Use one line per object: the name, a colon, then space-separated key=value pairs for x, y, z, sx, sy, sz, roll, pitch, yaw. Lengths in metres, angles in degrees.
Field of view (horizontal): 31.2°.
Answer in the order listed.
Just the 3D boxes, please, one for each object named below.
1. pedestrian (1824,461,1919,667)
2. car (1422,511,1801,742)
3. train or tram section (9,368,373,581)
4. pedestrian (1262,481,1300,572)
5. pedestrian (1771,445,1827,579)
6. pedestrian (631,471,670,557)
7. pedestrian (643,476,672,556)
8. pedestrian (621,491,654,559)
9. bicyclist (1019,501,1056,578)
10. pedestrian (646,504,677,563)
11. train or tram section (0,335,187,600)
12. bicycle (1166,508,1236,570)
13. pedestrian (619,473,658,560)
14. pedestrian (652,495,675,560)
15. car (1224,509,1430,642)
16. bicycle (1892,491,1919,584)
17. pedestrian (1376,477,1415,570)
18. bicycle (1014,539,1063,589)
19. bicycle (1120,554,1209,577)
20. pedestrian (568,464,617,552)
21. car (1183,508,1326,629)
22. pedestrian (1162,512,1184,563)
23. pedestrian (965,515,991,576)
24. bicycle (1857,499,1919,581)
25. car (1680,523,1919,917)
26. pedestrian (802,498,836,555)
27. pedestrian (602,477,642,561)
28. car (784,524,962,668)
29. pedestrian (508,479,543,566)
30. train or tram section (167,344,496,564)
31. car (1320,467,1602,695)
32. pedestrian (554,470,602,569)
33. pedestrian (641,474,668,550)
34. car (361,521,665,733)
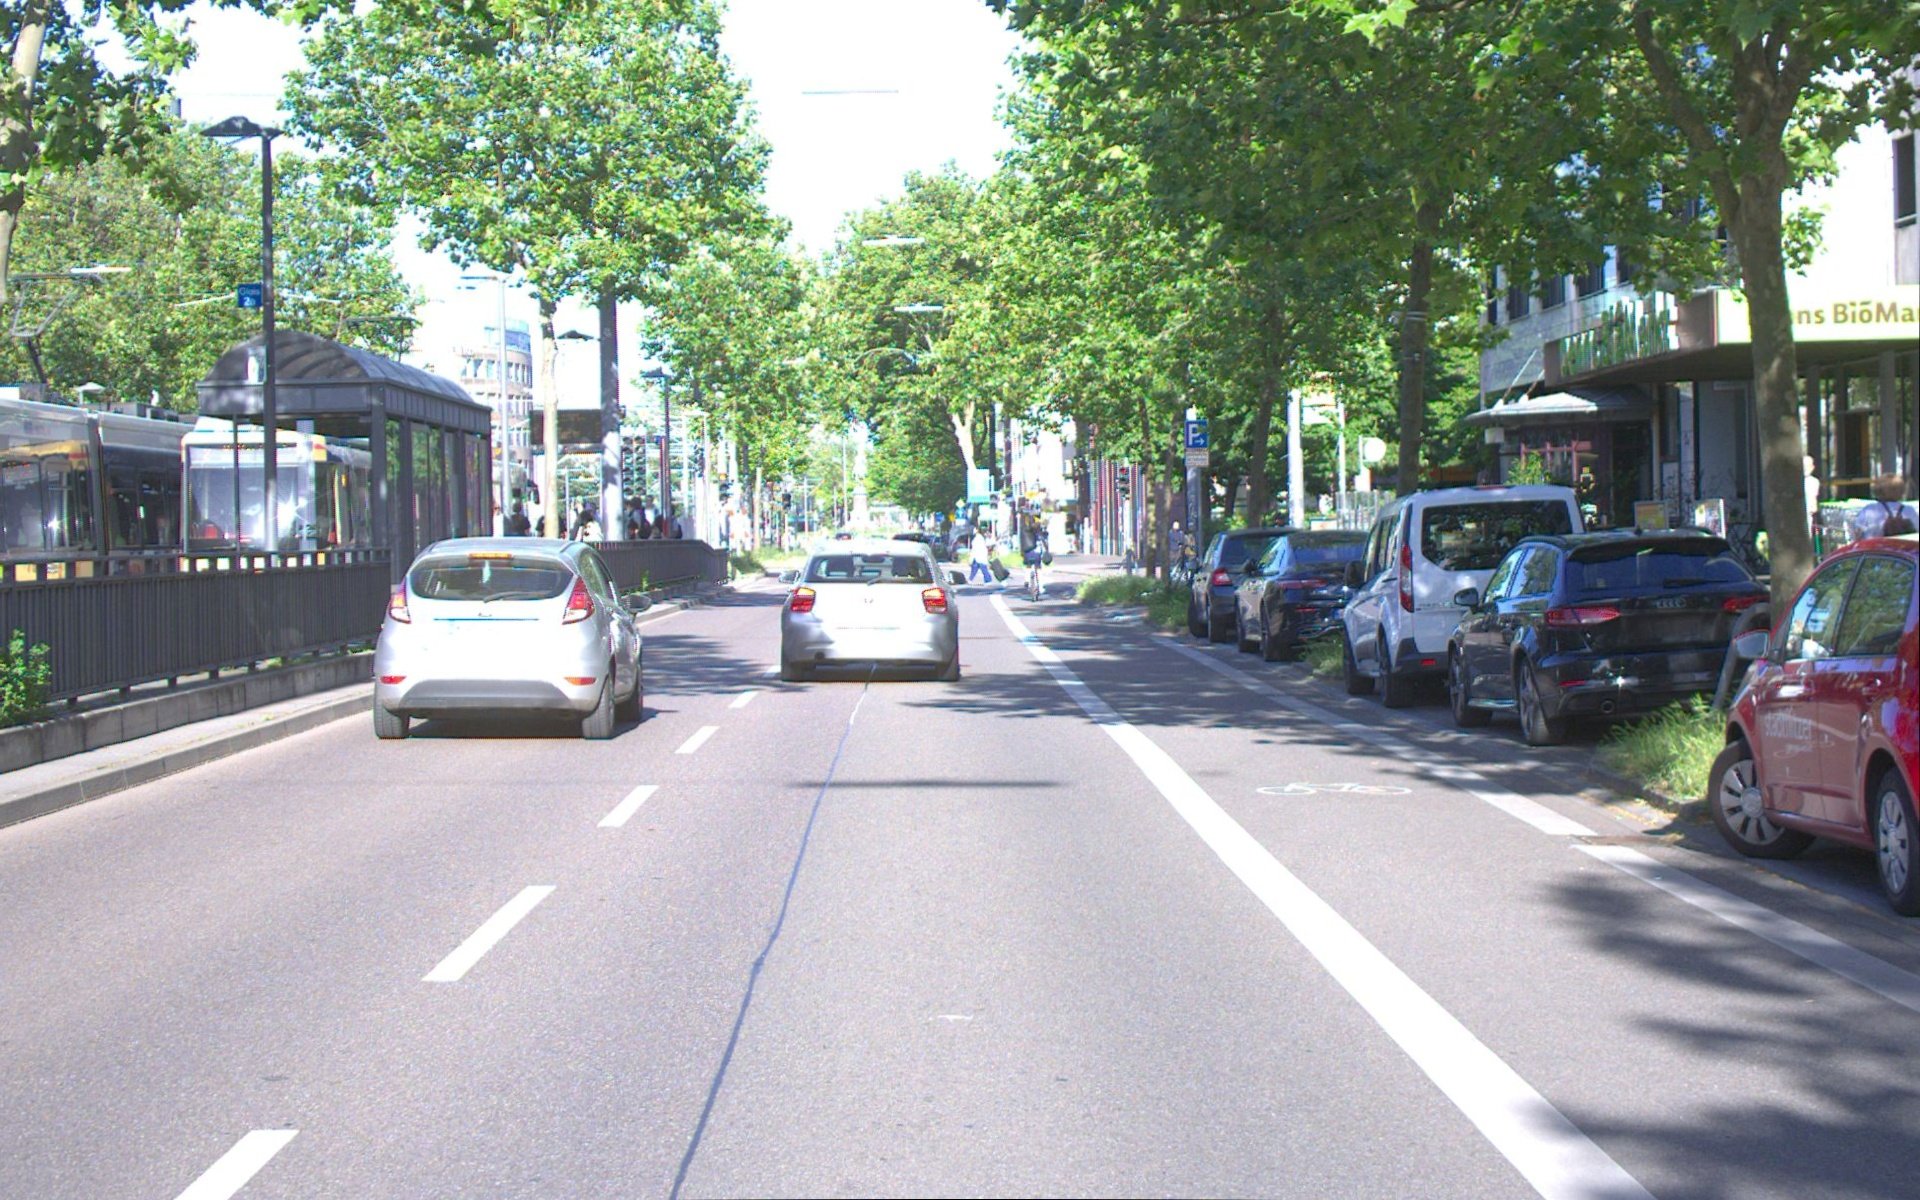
pedestrian: x=7.446 y=-0.301 z=27.684 sx=0.698 sy=1.607 sz=0.868 roll=-3 pitch=1 yaw=1
car: x=4.487 y=0.115 z=24.283 sx=1.728 sy=1.398 sz=4.296 roll=-3 pitch=2 yaw=-1
train or tram section: x=-13.945 y=-2.291 z=64.532 sx=2.849 sy=3.422 sz=18.216 roll=0 pitch=2 yaw=0
pedestrian: x=6.094 y=-1.394 z=65.368 sx=0.560 sy=1.698 sz=1.052 roll=-2 pitch=1 yaw=-1
pedestrian: x=11.095 y=-1.167 z=45.453 sx=0.612 sy=1.709 sz=0.613 roll=-3 pitch=3 yaw=16
pedestrian: x=-6.192 y=-1.713 z=68.754 sx=0.660 sy=1.690 sz=0.571 roll=-2 pitch=1 yaw=1
pedestrian: x=-6.601 y=-1.837 z=74.944 sx=0.548 sy=1.728 sz=0.540 roll=-2 pitch=1 yaw=-2
pedestrian: x=-6.018 y=-1.403 z=64.177 sx=0.534 sy=1.242 sz=0.604 roll=-2 pitch=1 yaw=-2
bicyclist: x=1.694 y=-1.336 z=75.298 sx=0.658 sy=1.651 sz=0.765 roll=-2 pitch=1 yaw=8
pedestrian: x=-6.025 y=-1.347 z=69.477 sx=0.545 sy=1.188 sz=0.531 roll=-2 pitch=1 yaw=-1
train or tram section: x=-13.850 y=-1.769 z=46.279 sx=2.871 sy=3.422 sz=18.278 roll=0 pitch=2 yaw=0
bicycle: x=4.559 y=-1.158 z=65.242 sx=0.788 sy=1.129 sz=1.847 roll=-2 pitch=2 yaw=-13
pedestrian: x=-6.324 y=-1.643 z=67.715 sx=0.660 sy=1.690 sz=0.571 roll=-2 pitch=1 yaw=1
pedestrian: x=-6.089 y=-1.488 z=70.685 sx=0.415 sy=1.311 sz=0.507 roll=-2 pitch=1 yaw=-2
car: x=4.156 y=-0.327 z=39.573 sx=1.761 sy=1.413 sz=4.701 roll=-1 pitch=2 yaw=-1
bicycle: x=11.908 y=-0.775 z=40.397 sx=1.702 sy=1.051 sz=0.585 roll=-3 pitch=4 yaw=27
pedestrian: x=8.283 y=-1.465 z=65.395 sx=0.560 sy=1.738 sz=0.879 roll=-2 pitch=1 yaw=-1
bicycle: x=1.732 y=-0.793 z=75.380 sx=0.832 sy=1.038 sz=1.874 roll=-2 pitch=2 yaw=8
bicycle: x=3.920 y=-0.672 z=66.061 sx=1.608 sy=0.352 sz=1.389 roll=-3 pitch=2 yaw=0
pedestrian: x=-6.473 y=-1.617 z=60.583 sx=0.775 sy=1.504 sz=0.752 roll=-2 pitch=1 yaw=-4
car: x=3.954 y=-0.462 z=46.651 sx=1.565 sy=1.545 sz=4.000 roll=-1 pitch=1 yaw=0
pedestrian: x=6.762 y=-1.979 z=109.149 sx=0.627 sy=1.623 sz=0.943 roll=0 pitch=1 yaw=8
pedestrian: x=0.493 y=-1.486 z=93.766 sx=0.639 sy=1.614 sz=0.642 roll=-2 pitch=-1 yaw=1
bicycle: x=11.758 y=-0.750 z=41.514 sx=1.649 sy=0.913 sz=0.585 roll=-3 pitch=4 yaw=27
car: x=4.347 y=0.396 z=14.518 sx=1.673 sy=1.433 sz=3.691 roll=-4 pitch=1 yaw=-1
pedestrian: x=-3.922 y=-2.049 z=95.587 sx=0.830 sy=1.570 sz=0.739 roll=-1 pitch=1 yaw=7
pedestrian: x=-6.602 y=-1.581 z=67.174 sx=0.660 sy=1.628 sz=0.571 roll=-2 pitch=1 yaw=1
car: x=-0.848 y=-0.075 z=35.212 sx=1.660 sy=1.404 sz=3.632 roll=0 pitch=1 yaw=1
pedestrian: x=-8.580 y=-1.536 z=67.943 sx=0.608 sy=1.696 sz=0.546 roll=-2 pitch=1 yaw=-4
train or tram section: x=-10.461 y=-2.260 z=59.297 sx=2.914 sy=3.249 sz=15.894 roll=1 pitch=1 yaw=-1
car: x=4.309 y=-0.226 z=30.174 sx=1.764 sy=1.785 sz=4.393 roll=-2 pitch=2 yaw=0
pedestrian: x=-6.887 y=-1.446 z=61.986 sx=0.775 sy=1.746 sz=0.723 roll=-2 pitch=1 yaw=-4
pedestrian: x=-6.973 y=-2.007 z=78.446 sx=0.547 sy=1.728 sz=0.540 roll=-2 pitch=1 yaw=-4
car: x=-3.249 y=0.139 z=25.658 sx=1.730 sy=1.385 sz=3.840 roll=0 pitch=2 yaw=1
